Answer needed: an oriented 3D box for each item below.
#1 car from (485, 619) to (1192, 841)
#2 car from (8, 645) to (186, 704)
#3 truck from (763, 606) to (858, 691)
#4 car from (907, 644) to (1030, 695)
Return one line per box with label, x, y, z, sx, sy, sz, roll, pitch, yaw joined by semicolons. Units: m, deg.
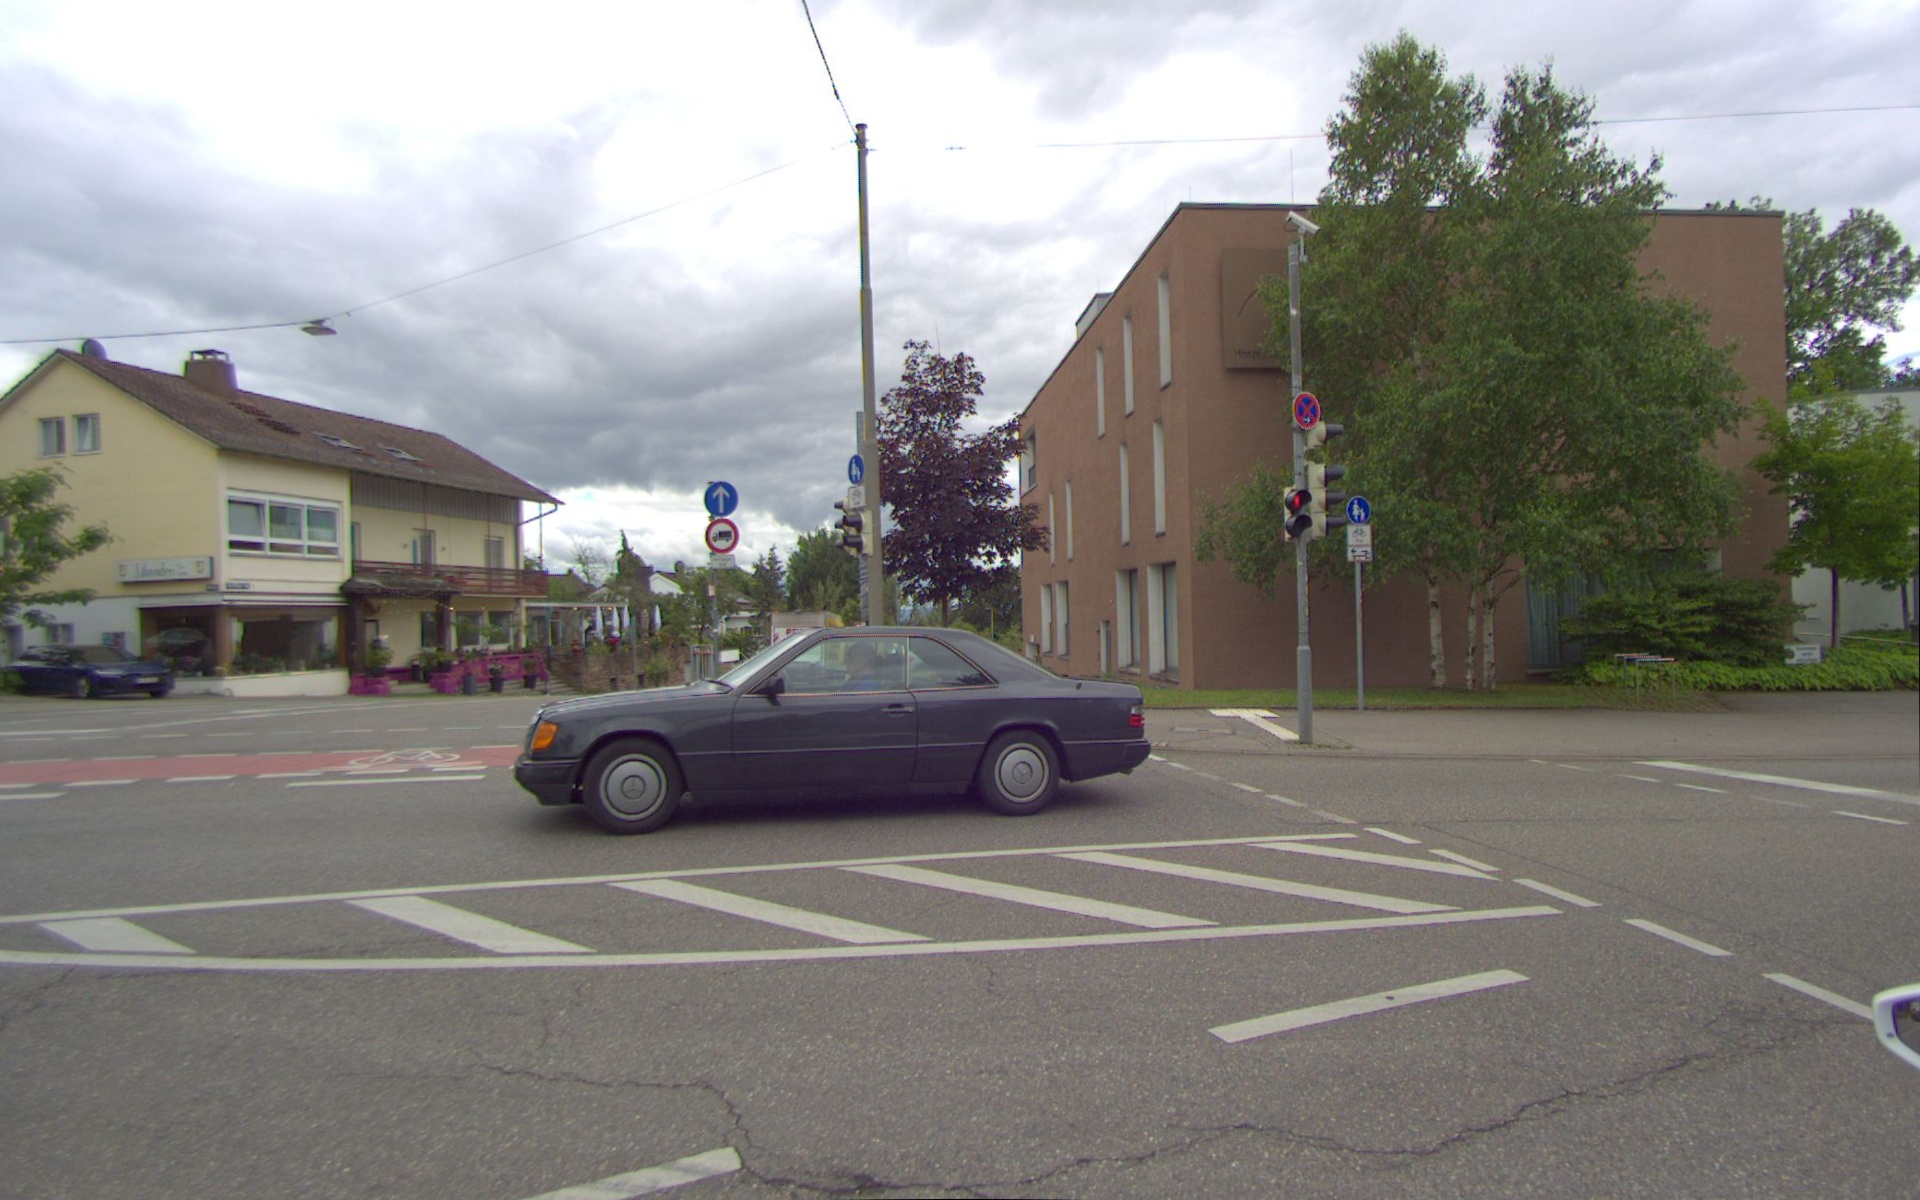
car;-0.820;0.864;7.669;4.788;1.345;1.846;1;-2;-16
car;-23.014;1.940;26.820;3.921;1.468;1.881;-1;-2;19
truck;-7.221;2.498;49.936;2.959;3.847;8.320;1;-4;3
car;0.252;2.251;32.910;3.928;1.541;1.786;1;-2;-2
